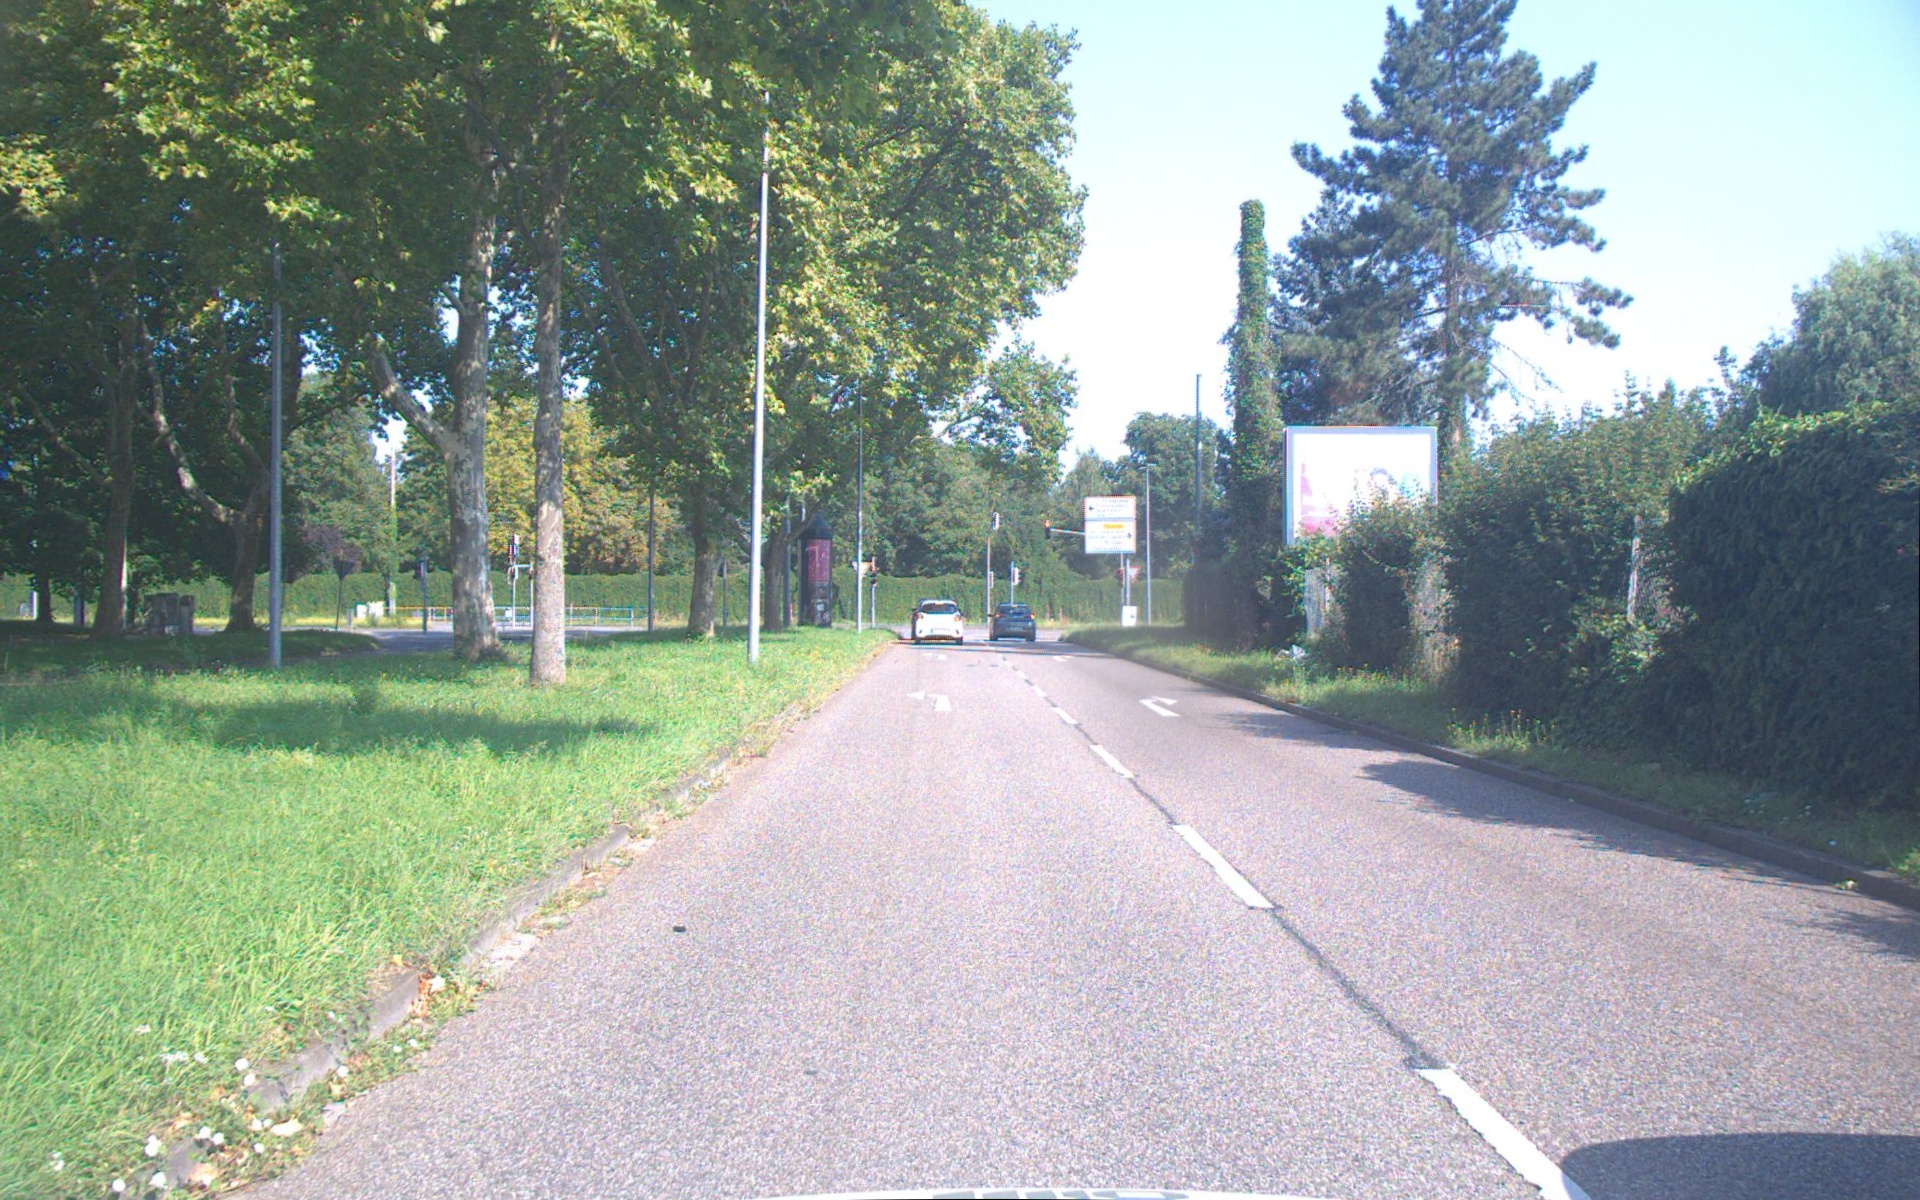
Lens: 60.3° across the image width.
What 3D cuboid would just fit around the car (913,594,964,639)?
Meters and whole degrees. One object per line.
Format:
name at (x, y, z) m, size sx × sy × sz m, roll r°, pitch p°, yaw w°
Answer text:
car at (-0.711, 0.562, 57.583) m, size 1.653 × 1.487 × 4.000 m, roll 0°, pitch 0°, yaw 1°

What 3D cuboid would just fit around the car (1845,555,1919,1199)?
car at (3.024, 0.692, 2.021) m, size 1.611 × 1.616 × 4.255 m, roll -1°, pitch 0°, yaw 0°

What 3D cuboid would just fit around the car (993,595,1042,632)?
car at (2.281, 0.540, 66.446) m, size 1.761 × 1.425 × 3.999 m, roll 0°, pitch 0°, yaw -1°

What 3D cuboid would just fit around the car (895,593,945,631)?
car at (-1.561, 0.461, 66.180) m, size 1.652 × 1.487 × 3.851 m, roll 0°, pitch 0°, yaw 4°
